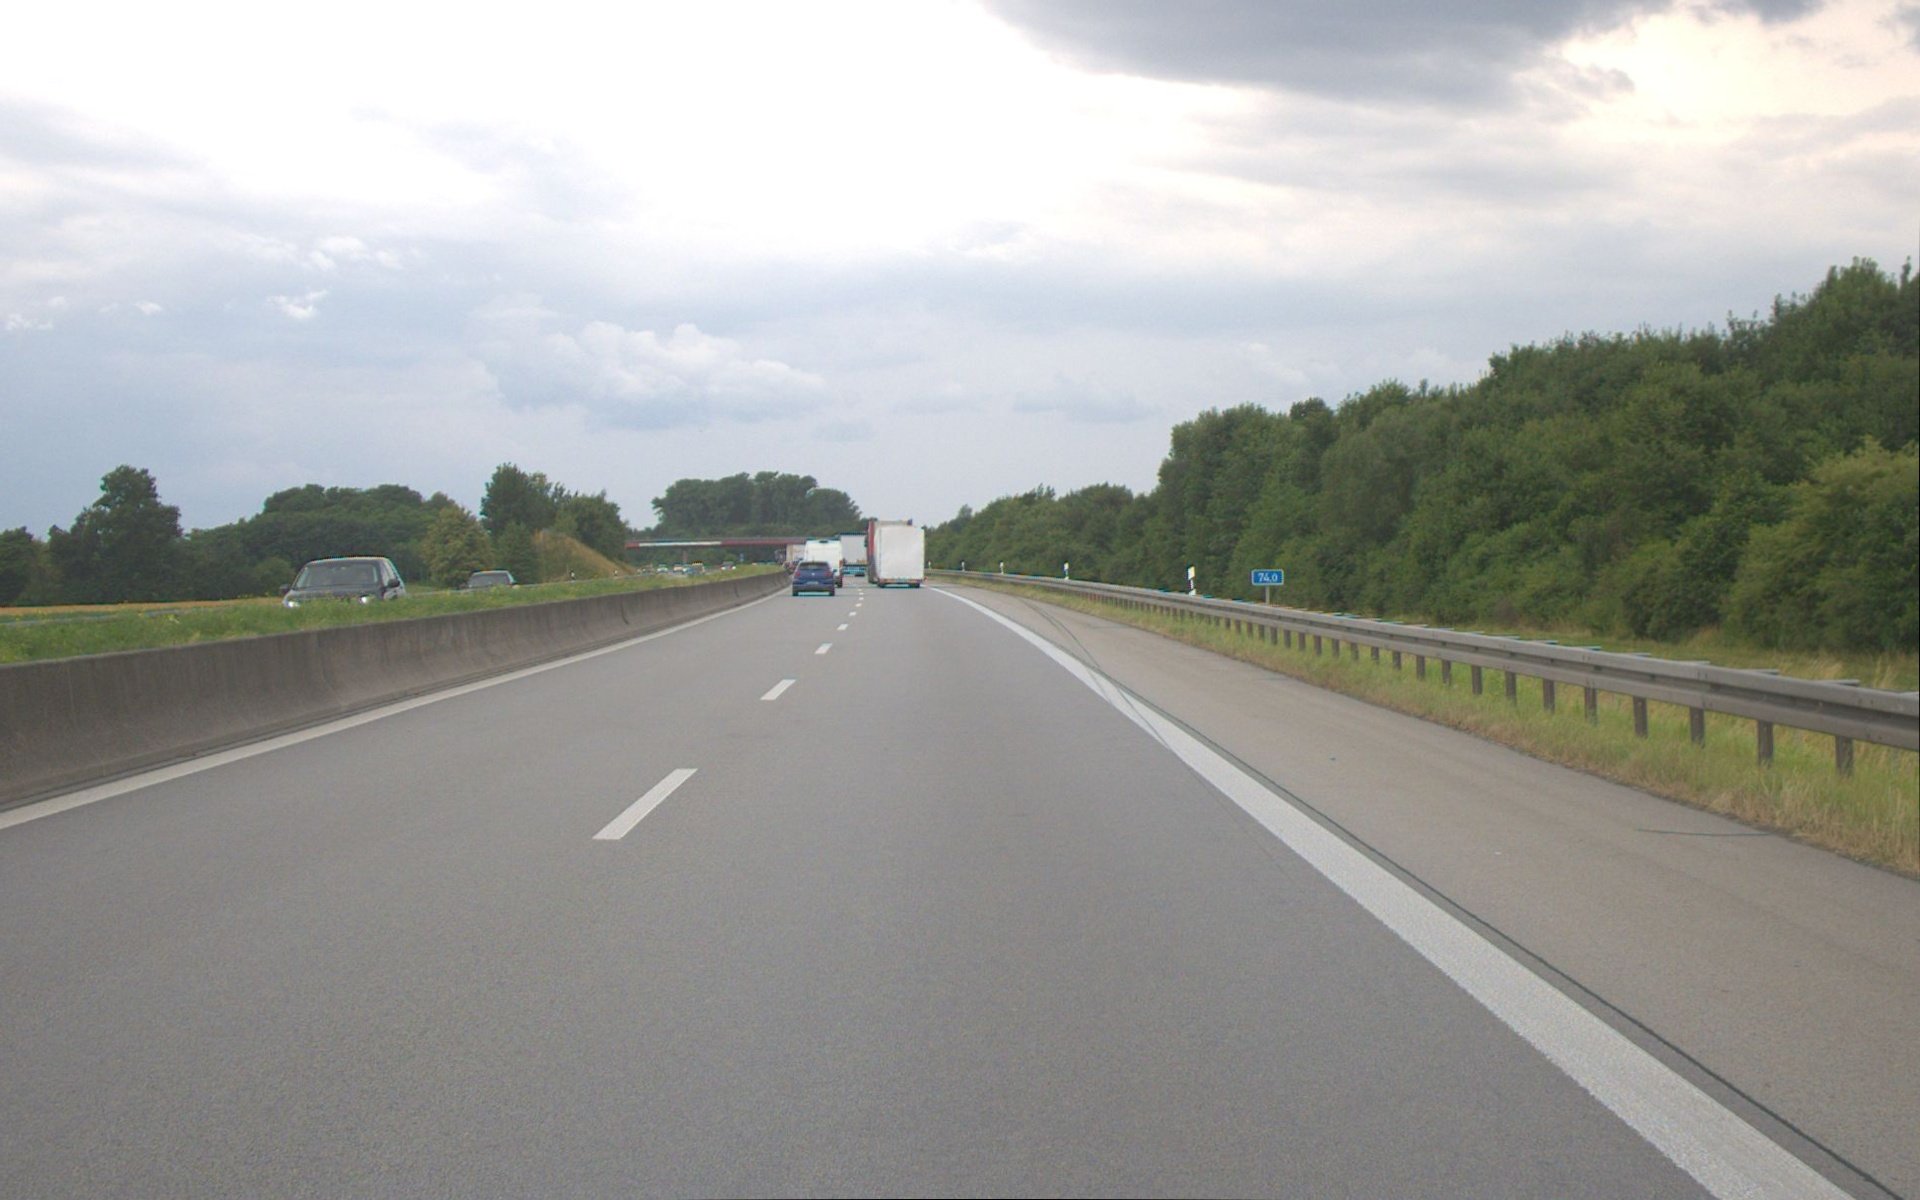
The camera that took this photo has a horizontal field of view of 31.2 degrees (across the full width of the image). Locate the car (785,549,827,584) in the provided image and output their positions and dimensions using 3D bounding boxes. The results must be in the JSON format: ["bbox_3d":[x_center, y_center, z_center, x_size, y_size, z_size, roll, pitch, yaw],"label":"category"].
[{"bbox_3d":[-6.251,-1.367,139.443,1.663,1.402,3.649,0,1,-3],"label":"car"}]

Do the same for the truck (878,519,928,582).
[{"bbox_3d":[-2.963,-2.530,177.978,2.415,3.211,7.144,0,0,-2],"label":"truck"}]

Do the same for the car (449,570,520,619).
[{"bbox_3d":[-15.843,-0.199,114.707,1.789,1.467,4.905,-3,1,-2],"label":"car"}]

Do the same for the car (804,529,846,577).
[{"bbox_3d":[-7.121,-2.469,181.725,2.130,2.474,5.840,-1,0,-2],"label":"car"}]

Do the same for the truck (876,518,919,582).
[{"bbox_3d":[-4.080,-3.271,224.520,2.673,4.032,11.108,-1,1,-1],"label":"truck"}]

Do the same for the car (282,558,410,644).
[{"bbox_3d":[-11.146,-0.016,62.649,1.688,1.486,4.184,-1,1,-2],"label":"car"}]
